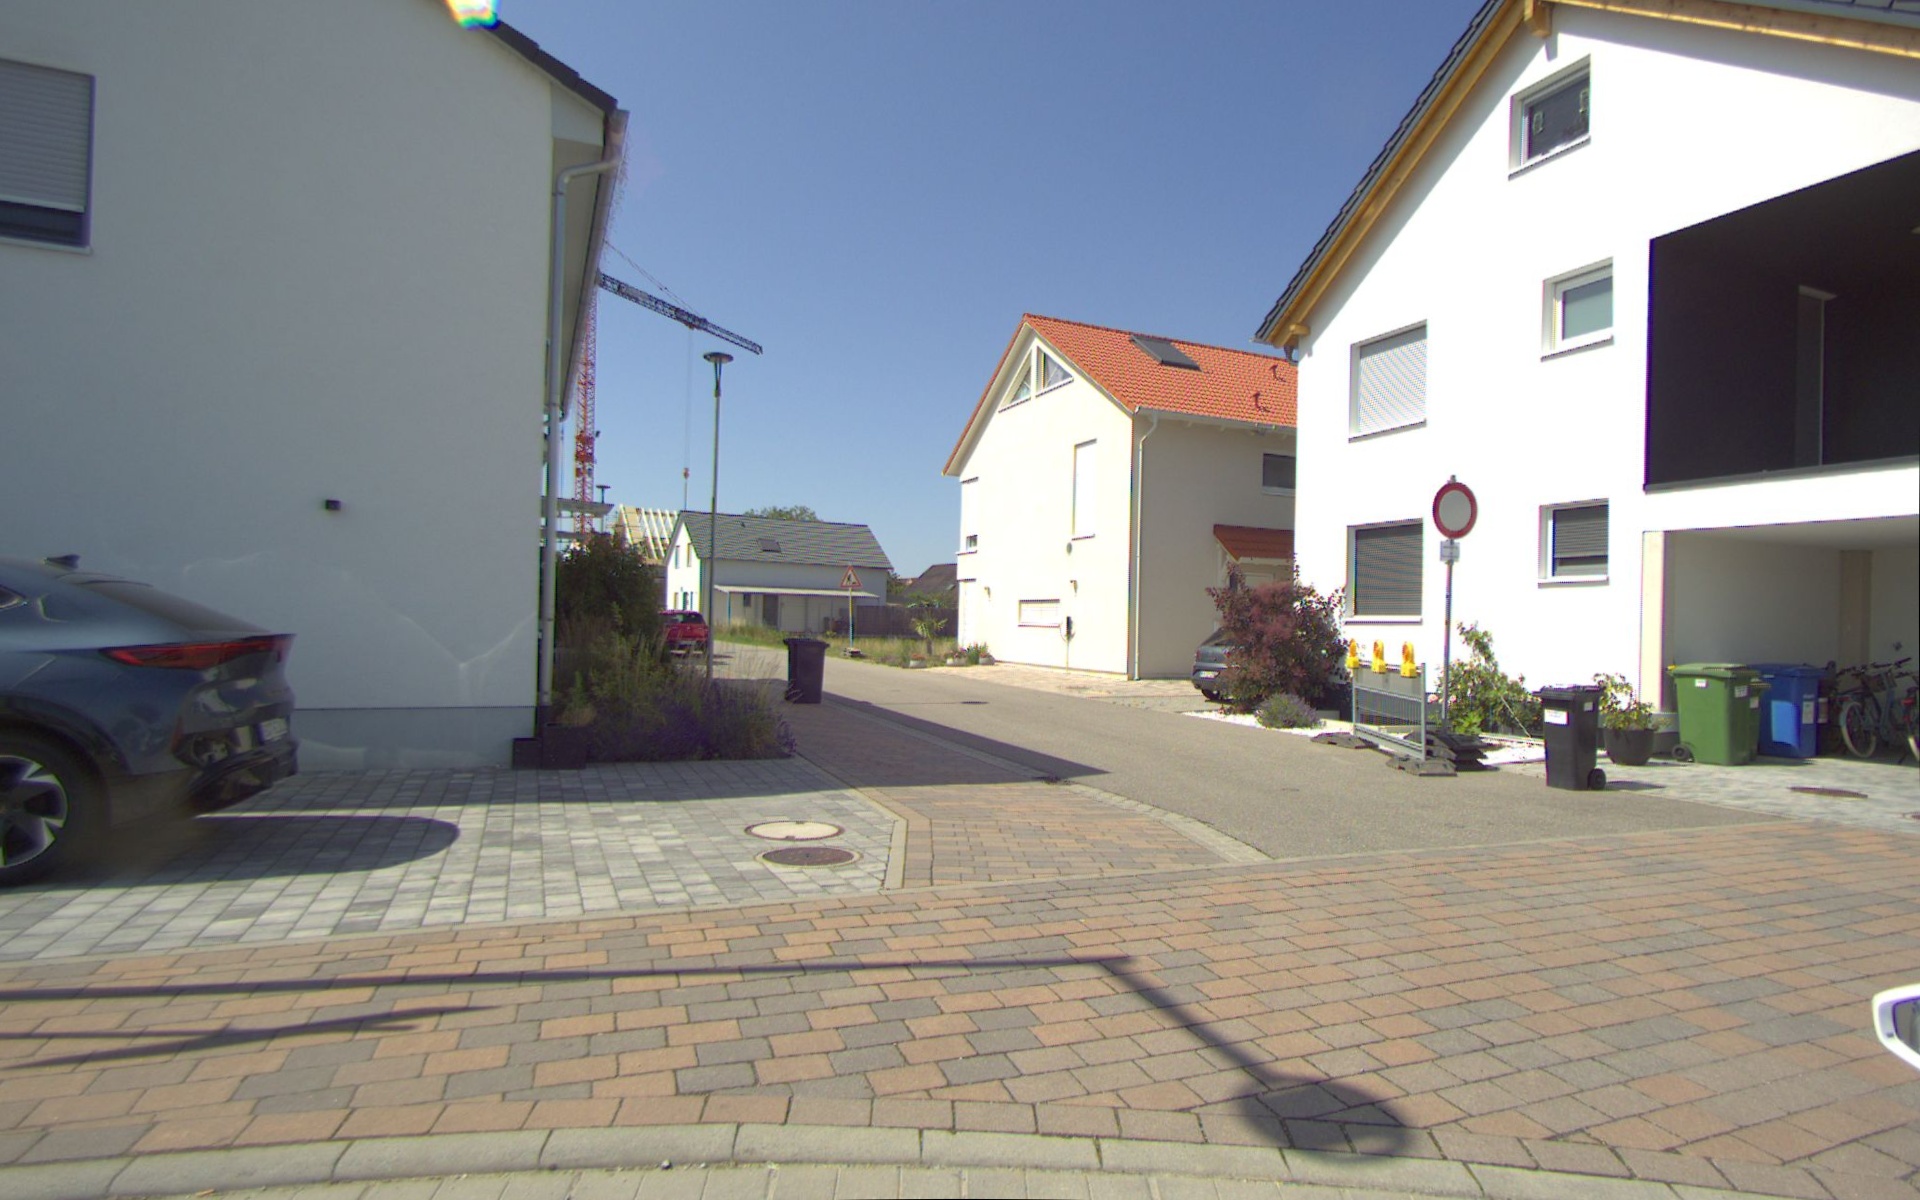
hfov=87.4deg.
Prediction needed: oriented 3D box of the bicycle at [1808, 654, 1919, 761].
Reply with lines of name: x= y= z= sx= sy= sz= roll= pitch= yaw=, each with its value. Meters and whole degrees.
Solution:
bicycle: x=11.105 y=1.245 z=11.928 sx=2.103 sy=1.141 sz=0.727 roll=2 pitch=0 yaw=-24

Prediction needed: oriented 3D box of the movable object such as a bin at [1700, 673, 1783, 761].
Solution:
movable object such as a bin: x=8.798 y=1.299 z=11.314 sx=0.493 sy=0.917 sz=0.558 roll=1 pitch=0 yaw=-24

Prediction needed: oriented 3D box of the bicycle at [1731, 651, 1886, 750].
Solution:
bicycle: x=10.804 y=1.240 z=12.769 sx=2.106 sy=1.141 sz=0.773 roll=2 pitch=0 yaw=-28

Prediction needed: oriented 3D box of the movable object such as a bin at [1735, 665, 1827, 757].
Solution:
movable object such as a bin: x=9.611 y=1.280 z=11.764 sx=0.493 sy=1.000 sz=0.673 roll=1 pitch=0 yaw=-24

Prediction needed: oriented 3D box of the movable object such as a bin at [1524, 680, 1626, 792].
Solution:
movable object such as a bin: x=5.649 y=1.229 z=9.238 sx=0.610 sy=0.949 sz=0.561 roll=1 pitch=-1 yaw=-25

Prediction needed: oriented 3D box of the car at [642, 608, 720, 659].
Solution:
car: x=-9.259 y=1.060 z=33.141 sx=1.886 sy=1.498 sz=3.976 roll=2 pitch=0 yaw=-24

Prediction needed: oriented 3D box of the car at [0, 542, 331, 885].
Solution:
car: x=-5.910 y=0.508 z=5.070 sx=4.288 sy=1.578 sz=1.950 roll=2 pitch=-2 yaw=-22

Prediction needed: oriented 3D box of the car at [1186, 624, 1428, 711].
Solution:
car: x=6.234 y=1.185 z=18.050 sx=4.004 sy=1.398 sz=1.746 roll=2 pitch=-1 yaw=-24

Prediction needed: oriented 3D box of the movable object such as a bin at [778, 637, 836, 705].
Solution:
movable object such as a bin: x=-2.557 y=1.168 z=16.739 sx=0.813 sy=1.079 sz=0.586 roll=1 pitch=0 yaw=-25

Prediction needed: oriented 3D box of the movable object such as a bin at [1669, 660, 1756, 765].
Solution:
movable object such as a bin: x=8.291 y=1.216 z=11.075 sx=0.493 sy=1.106 sz=0.598 roll=1 pitch=-2 yaw=-24
